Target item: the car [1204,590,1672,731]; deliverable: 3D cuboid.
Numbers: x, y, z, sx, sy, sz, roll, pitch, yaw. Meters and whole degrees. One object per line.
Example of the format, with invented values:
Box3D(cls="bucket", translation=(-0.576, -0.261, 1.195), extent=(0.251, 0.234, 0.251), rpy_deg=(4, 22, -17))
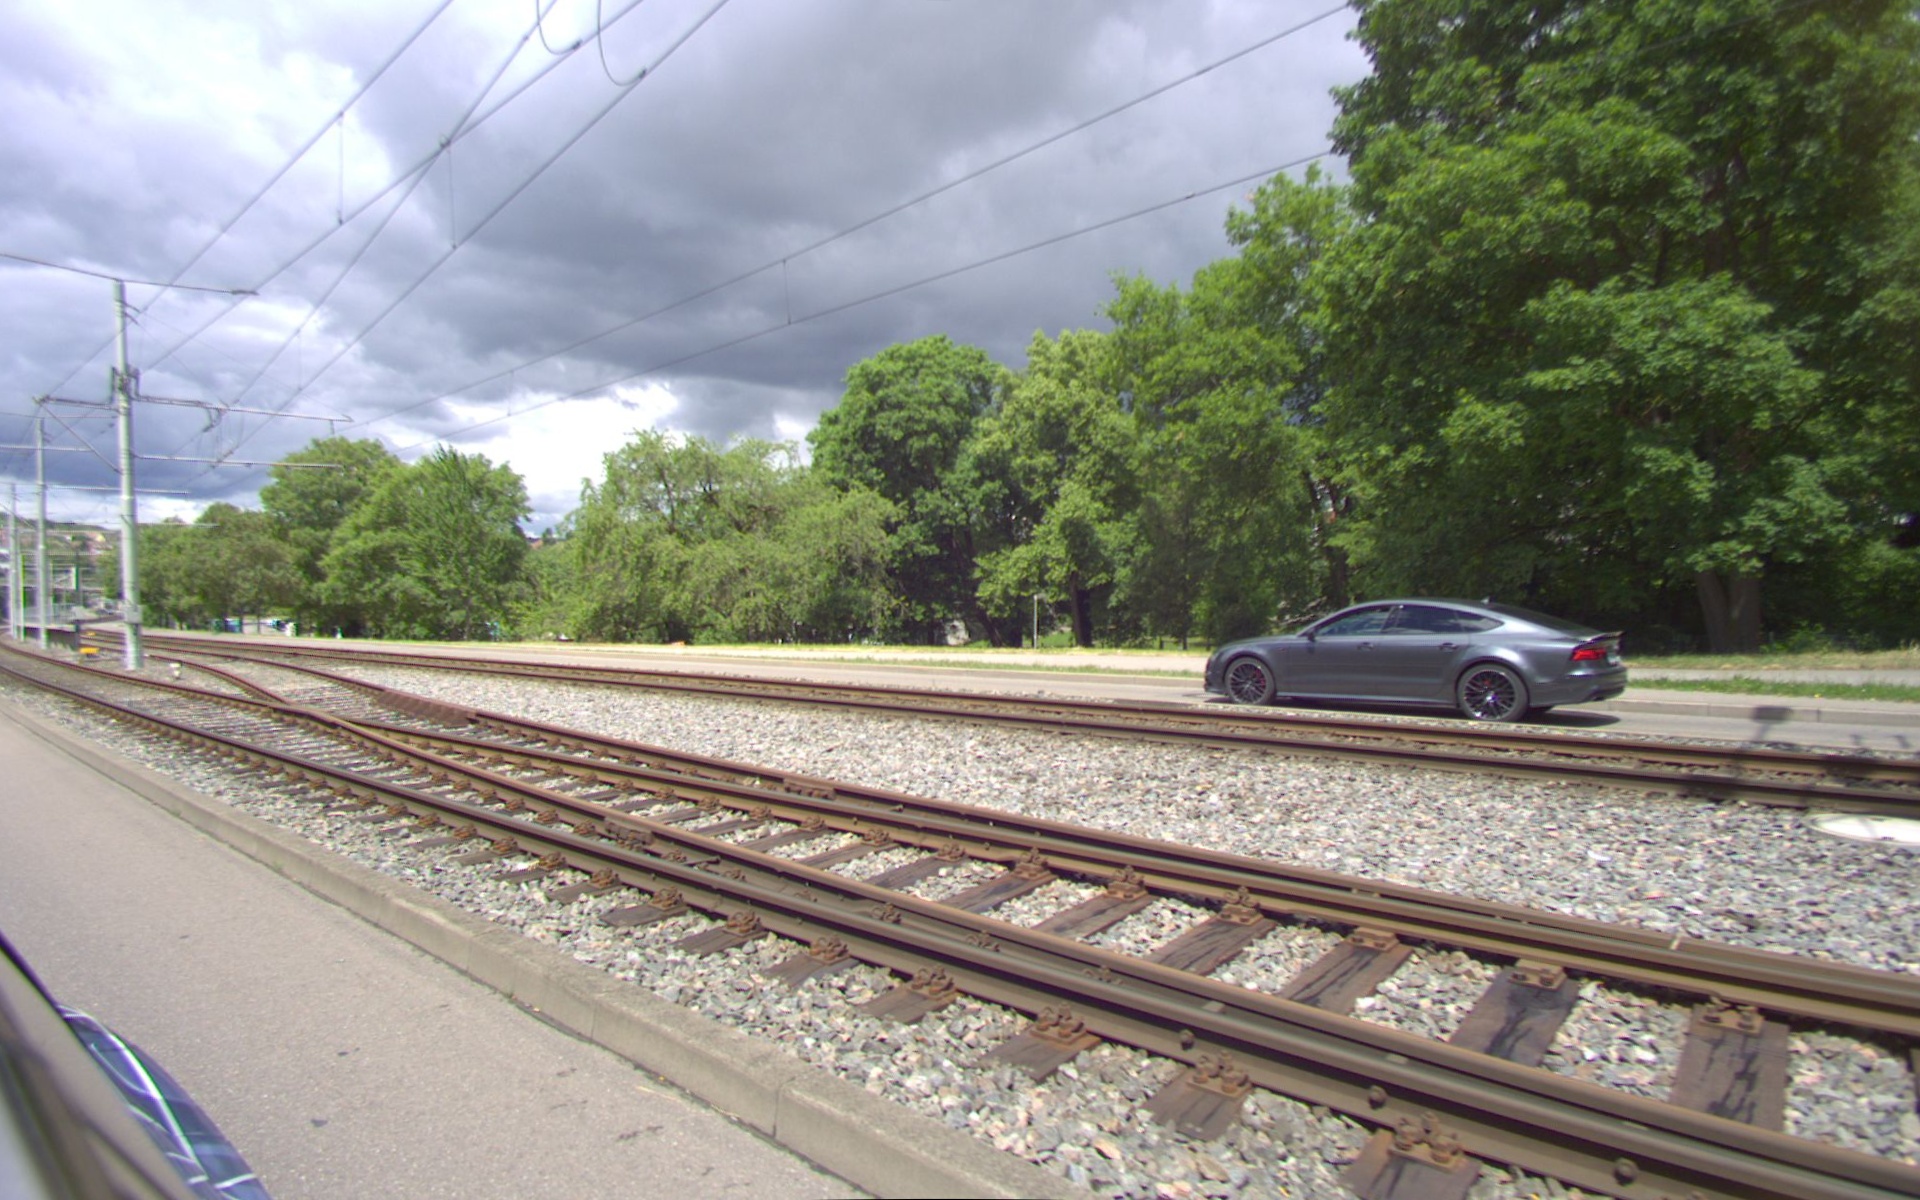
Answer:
Box3D(cls="car", translation=(5.617, 0.666, 12.370), extent=(4.861, 1.402, 1.816), rpy_deg=(-1, -2, 42))
